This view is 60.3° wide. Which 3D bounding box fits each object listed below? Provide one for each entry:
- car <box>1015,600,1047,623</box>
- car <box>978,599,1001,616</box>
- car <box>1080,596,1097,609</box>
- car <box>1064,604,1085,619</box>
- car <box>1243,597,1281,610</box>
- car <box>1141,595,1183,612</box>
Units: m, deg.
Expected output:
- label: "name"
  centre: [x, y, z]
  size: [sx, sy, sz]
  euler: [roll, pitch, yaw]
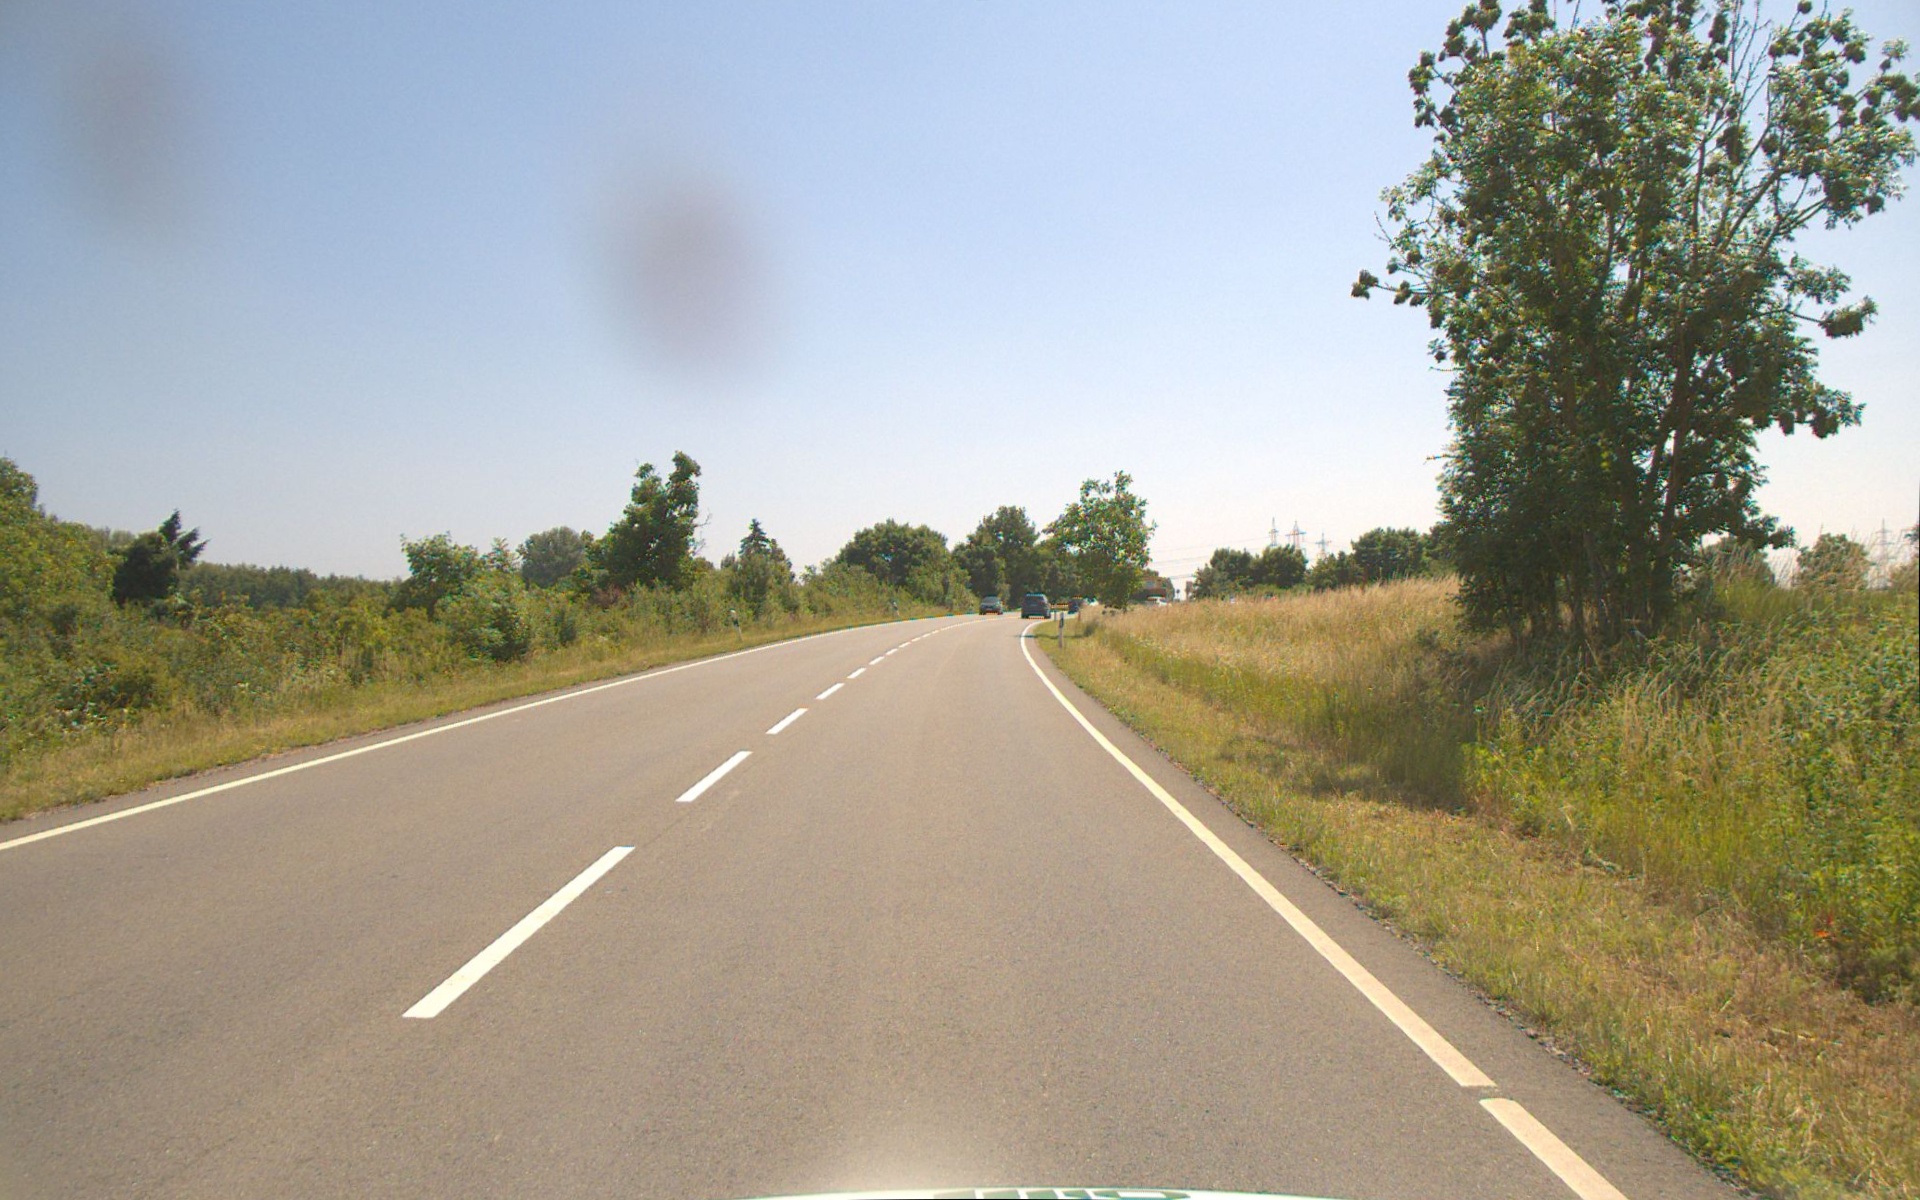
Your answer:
- label: "car"
  centre: [5.078, 0.816, 117.457]
  size: [1.844, 1.544, 4.043]
  euler: [1, 0, 9]
- label: "car"
  centre: [2.434, 0.604, 136.536]
  size: [1.657, 1.386, 3.828]
  euler: [1, 0, 5]
- label: "car"
  centre: [15.519, 0.321, 199.526]
  size: [1.796, 1.443, 4.719]
  euler: [1, 0, 7]
- label: "car"
  centre: [10.526, 1.057, 152.356]
  size: [1.609, 1.364, 4.043]
  euler: [1, 0, 9]
- label: "car"
  centre: [34.702, 0.389, 189.945]
  size: [4.069, 1.443, 1.779]
  euler: [0, -1, 24]
- label: "car"
  centre: [20.493, 0.336, 167.451]
  size: [4.106, 1.652, 2.040]
  euler: [-1, 0, -41]
